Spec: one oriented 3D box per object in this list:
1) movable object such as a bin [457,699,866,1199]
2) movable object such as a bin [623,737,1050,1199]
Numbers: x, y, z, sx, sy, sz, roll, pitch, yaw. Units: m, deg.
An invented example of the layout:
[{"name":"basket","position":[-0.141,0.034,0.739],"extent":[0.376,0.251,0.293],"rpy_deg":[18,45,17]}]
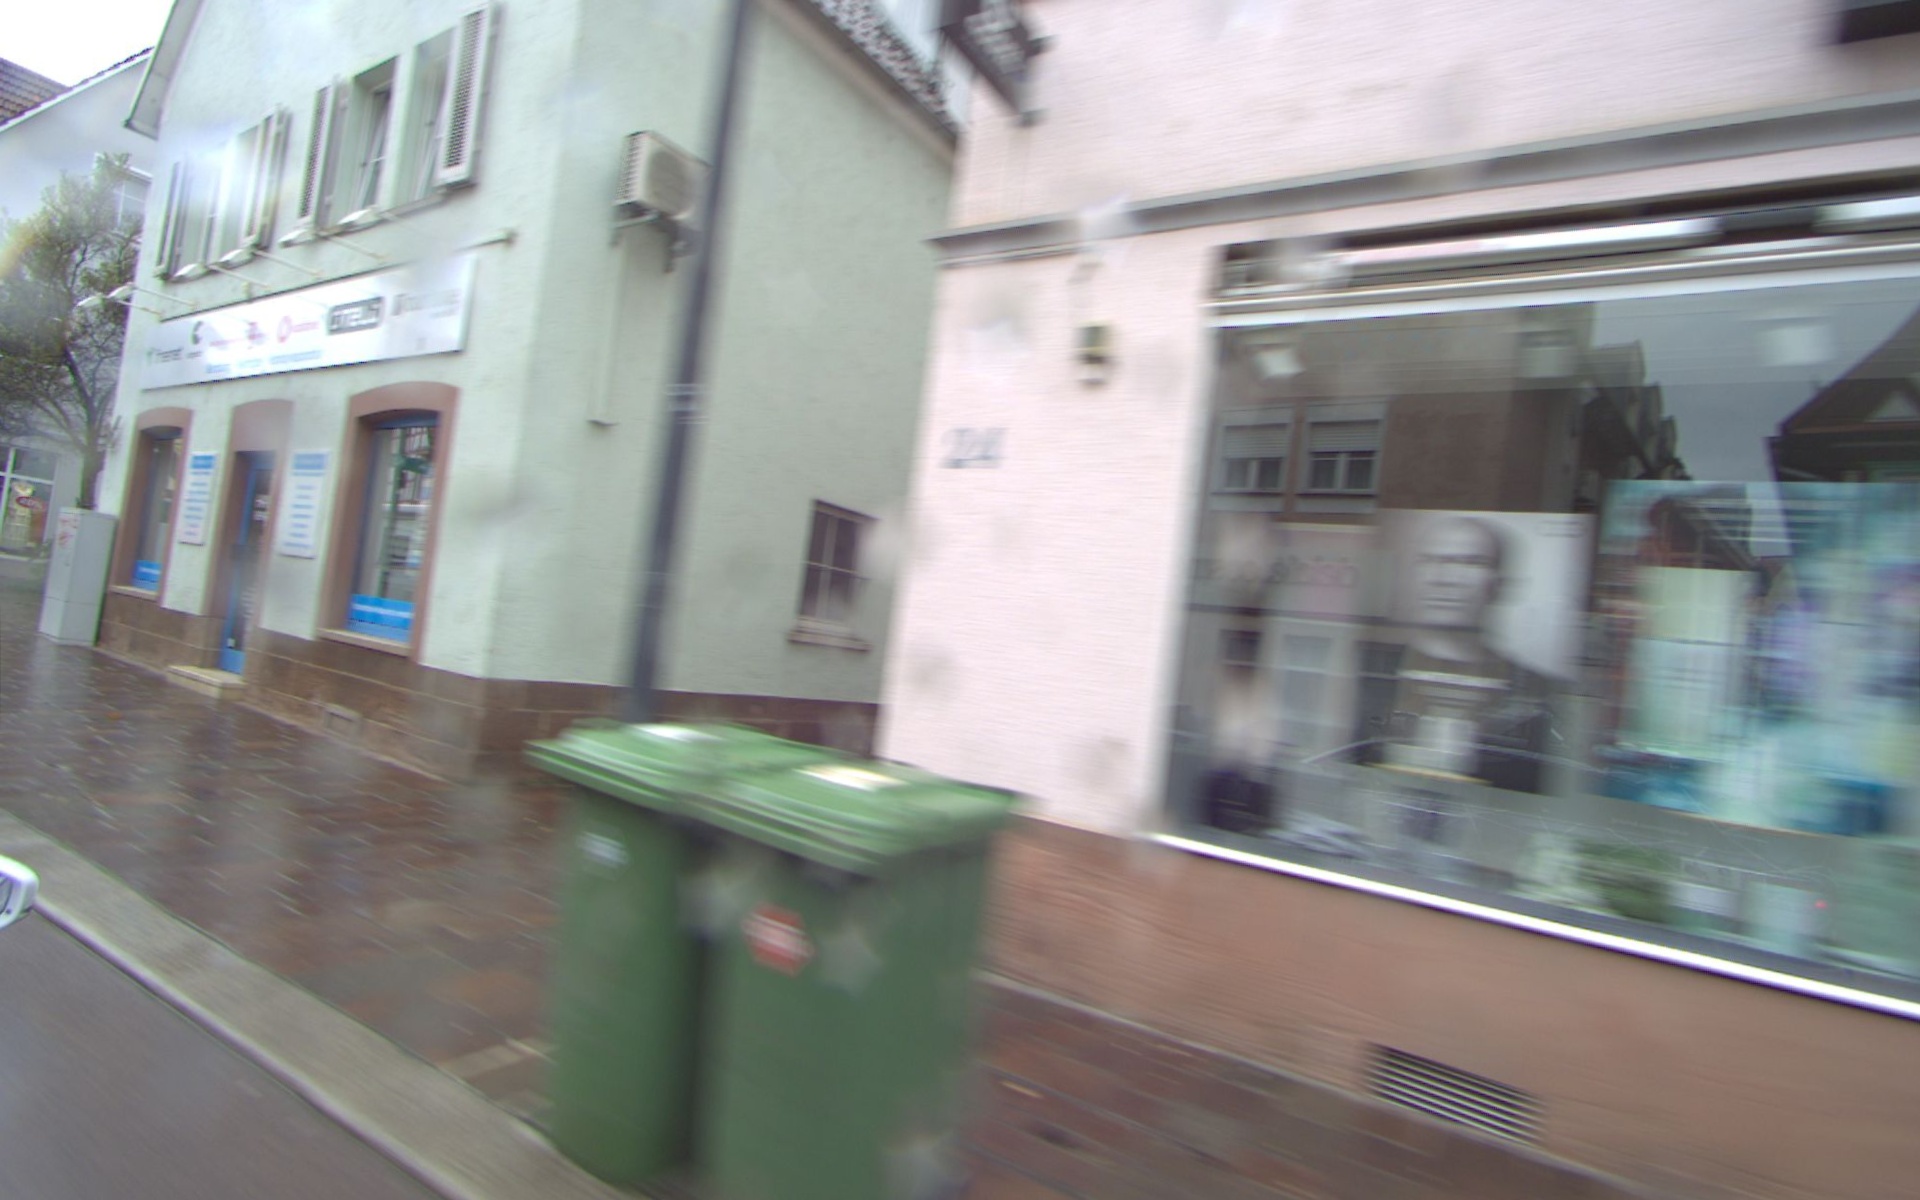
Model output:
[{"name":"movable object such as a bin","position":[-0.764,0.917,2.687],"extent":[0.569,1.215,0.720],"rpy_deg":[6,-2,33]},{"name":"movable object such as a bin","position":[-0.269,0.973,2.371],"extent":[0.564,1.215,0.720],"rpy_deg":[6,-2,33]}]
